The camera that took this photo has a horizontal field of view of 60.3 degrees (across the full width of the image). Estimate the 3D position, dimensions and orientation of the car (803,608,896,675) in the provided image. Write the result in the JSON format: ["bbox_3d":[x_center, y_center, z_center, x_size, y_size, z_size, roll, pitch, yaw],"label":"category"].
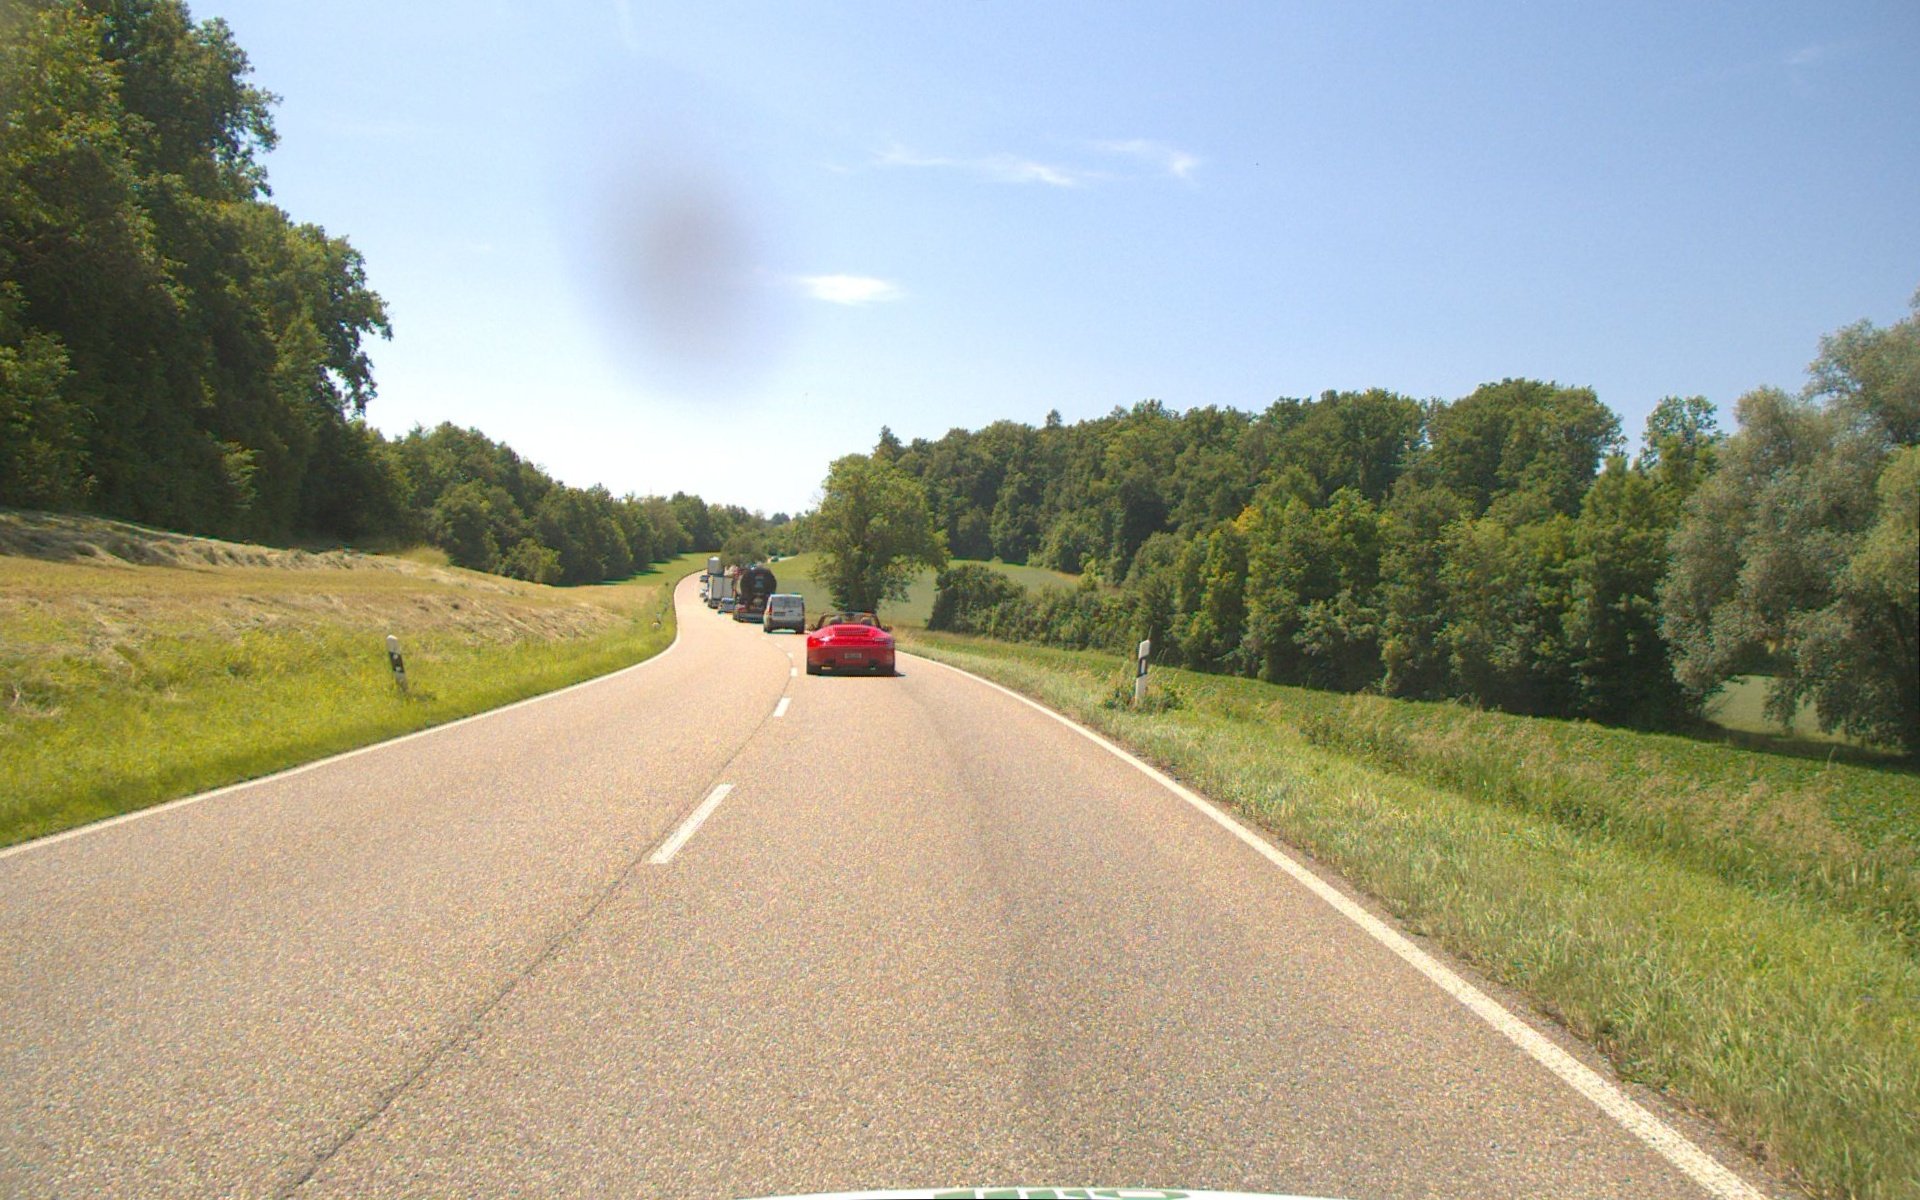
[{"bbox_3d":[-2.331,0.846,35.153,1.845,1.277,4.007,1,0,-3],"label":"car"}]

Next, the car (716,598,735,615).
[{"bbox_3d":[-23.438,0.634,165.170,1.691,1.613,4.150,1,0,-10],"label":"car"}]

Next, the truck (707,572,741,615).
[{"bbox_3d":[-29.226,-0.865,204.591,3.658,4.740,12.005,1,3,-10],"label":"truck"}]

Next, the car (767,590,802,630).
[{"bbox_3d":[-8.818,0.501,82.855,1.647,1.934,4.003,1,0,-7],"label":"car"}]

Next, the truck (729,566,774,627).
[{"bbox_3d":[-15.140,-0.290,119.371,2.361,4.120,12.517,1,0,-11],"label":"truck"}]
